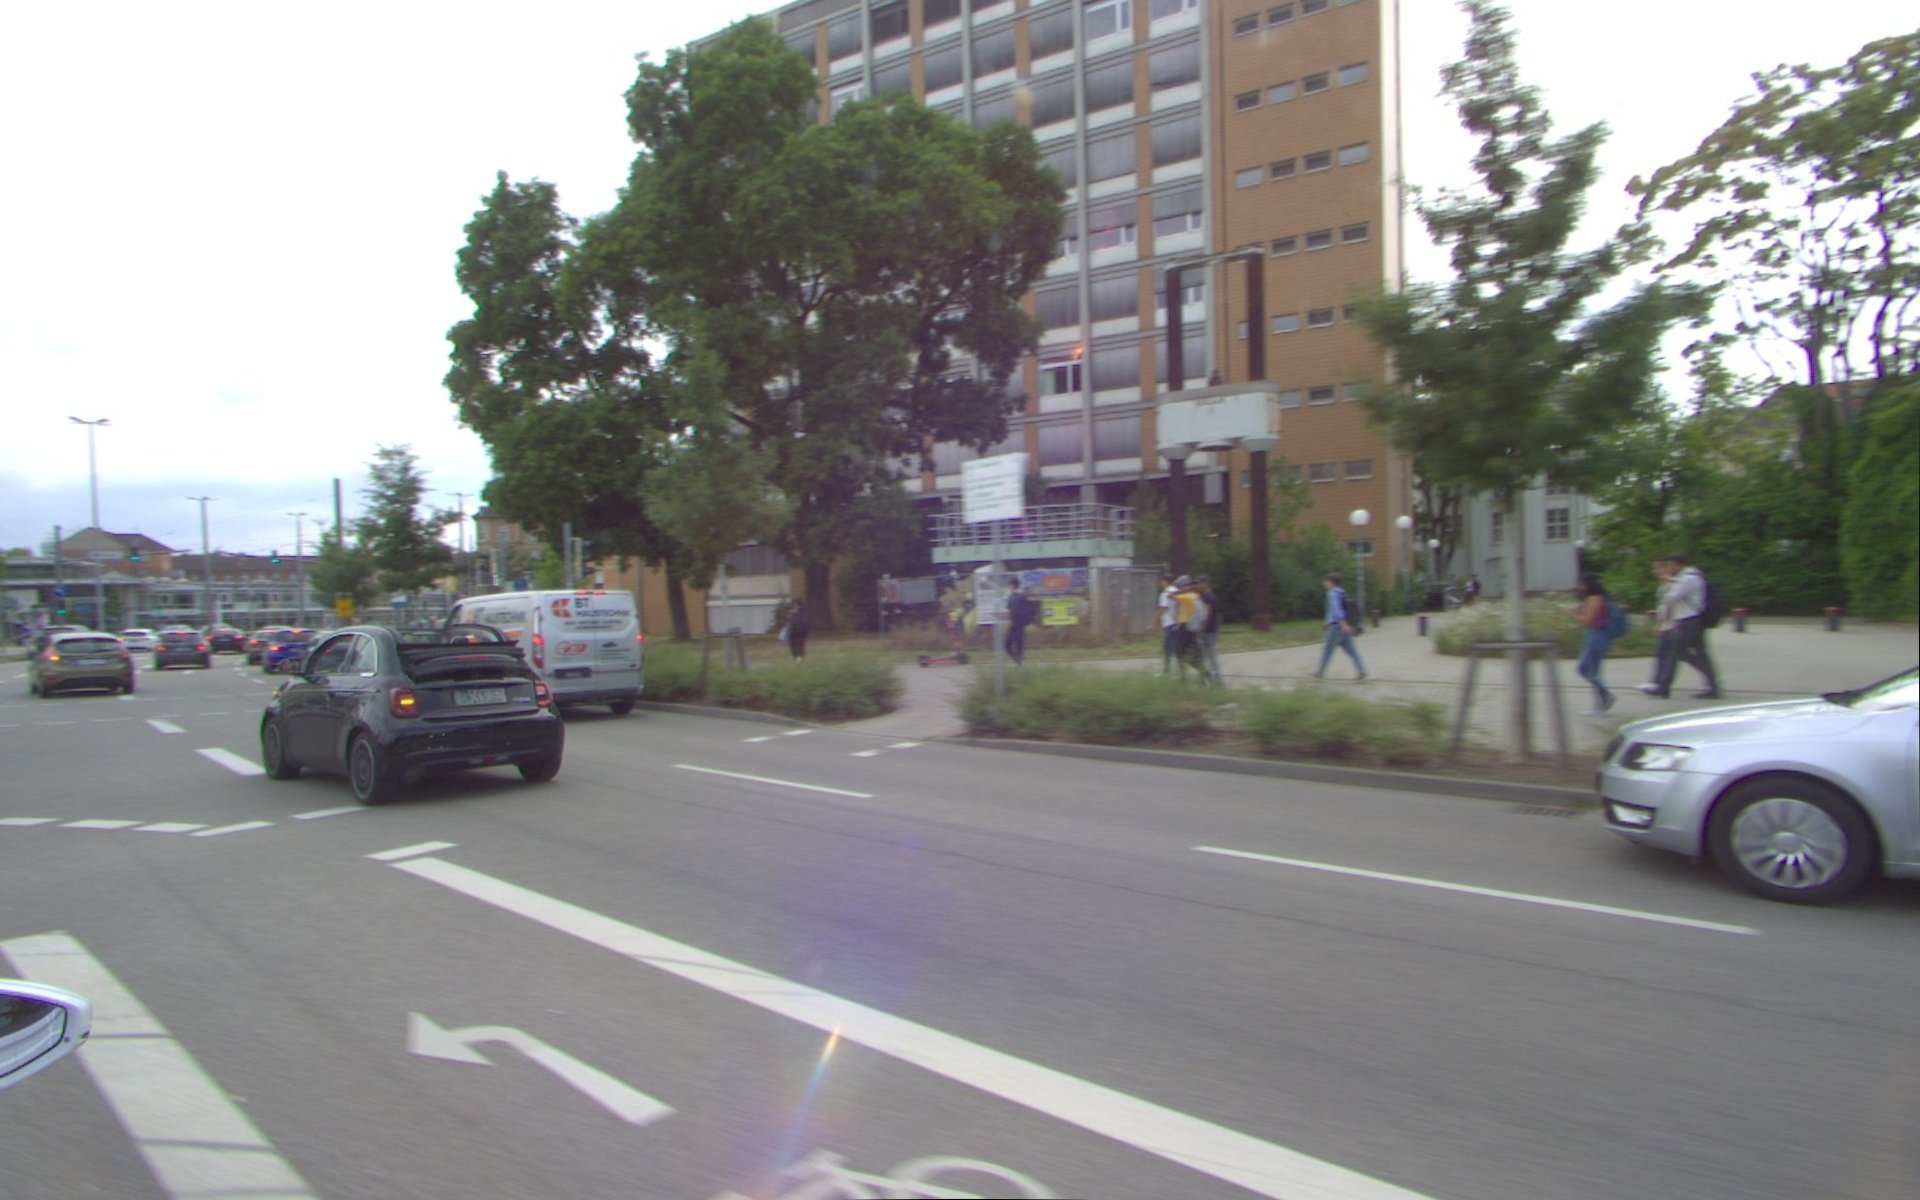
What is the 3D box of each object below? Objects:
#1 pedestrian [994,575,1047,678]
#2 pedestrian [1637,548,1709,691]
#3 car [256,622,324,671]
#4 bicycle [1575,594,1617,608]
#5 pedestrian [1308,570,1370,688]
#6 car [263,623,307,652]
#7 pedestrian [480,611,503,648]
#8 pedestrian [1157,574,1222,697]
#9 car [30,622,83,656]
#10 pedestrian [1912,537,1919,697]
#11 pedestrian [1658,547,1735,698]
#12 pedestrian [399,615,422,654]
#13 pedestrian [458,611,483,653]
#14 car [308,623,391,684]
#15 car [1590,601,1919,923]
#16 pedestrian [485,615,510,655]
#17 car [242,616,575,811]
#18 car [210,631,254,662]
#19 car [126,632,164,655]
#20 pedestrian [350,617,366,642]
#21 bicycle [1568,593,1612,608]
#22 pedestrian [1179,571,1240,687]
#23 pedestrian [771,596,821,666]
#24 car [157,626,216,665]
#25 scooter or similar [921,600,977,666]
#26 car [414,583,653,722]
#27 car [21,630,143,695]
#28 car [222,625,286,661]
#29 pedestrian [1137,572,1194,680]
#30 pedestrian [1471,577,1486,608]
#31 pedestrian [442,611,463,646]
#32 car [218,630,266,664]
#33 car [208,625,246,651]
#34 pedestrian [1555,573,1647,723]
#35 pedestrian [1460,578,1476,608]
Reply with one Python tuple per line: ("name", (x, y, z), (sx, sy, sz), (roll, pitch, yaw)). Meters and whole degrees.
("pedestrian", (1.116, 0.483, 18.567), (0.699, 1.877, 0.635), (-1, 1, 36))
("pedestrian", (9.008, 0.256, 12.657), (0.699, 1.733, 0.636), (-1, -1, 36))
("car", (-23.103, 1.581, 34.465), (1.841, 1.552, 3.975), (1, -2, -36))
("bicycle", (33.667, 0.070, 53.007), (1.825, 0.702, 0.647), (-2, -2, 42))
("pedestrian", (5.757, 0.428, 15.207), (0.699, 1.734, 0.635), (-1, 2, 36))
("car", (-34.505, 1.925, 51.154), (1.688, 1.438, 3.675), (1, -2, -36))
("pedestrian", (-20.920, 1.304, 44.695), (0.769, 1.595, 0.808), (-3, 2, -31))
("pedestrian", (3.370, 0.509, 14.687), (0.699, 1.734, 0.635), (-1, 1, 36))
("car", (-44.484, 1.916, 49.354), (1.821, 1.635, 3.516), (1, -2, -41))
("pedestrian", (10.779, 0.175, 10.518), (1.000, 1.733, 0.834), (-1, -1, 36))
("pedestrian", (8.801, 0.271, 11.976), (0.699, 1.733, 0.636), (-1, -1, 36))
("pedestrian", (-23.428, 1.469, 42.696), (0.769, 1.595, 0.808), (-3, 2, -31))
("pedestrian", (-19.452, 1.252, 39.761), (0.769, 1.595, 0.808), (-3, 2, -31))
("car", (-16.571, 1.407, 27.108), (1.651, 1.527, 3.610), (0, -2, -36))
("car", (5.746, 0.742, 4.805), (4.472, 1.493, 1.813), (-2, -2, 37))
("pedestrian", (-18.714, 1.403, 40.499), (0.769, 1.595, 0.808), (-3, 2, -31))
("car", (-5.340, 0.947, 9.564), (3.401, 1.508, 1.659), (-2, -1, 40))
("car", (-35.575, 2.262, 48.917), (1.695, 1.438, 3.972), (1, -2, -36))
("car", (-51.787, 2.752, 63.668), (1.695, 1.438, 3.972), (1, -2, -36))
("pedestrian", (-39.123, 1.922, 65.076), (0.769, 1.595, 0.808), (-3, 2, -31))
("bicycle", (32.619, 0.040, 51.836), (1.825, 0.702, 0.647), (-2, -2, 42))
("pedestrian", (3.826, 0.448, 15.325), (0.699, 1.733, 0.636), (-1, -1, 36))
("pedestrian", (-3.908, 0.738, 23.826), (0.802, 1.595, 0.775), (-1, 2, 36))
("car", (-30.042, 1.762, 38.970), (1.695, 1.438, 3.973), (1, -2, -36))
("scooter or similar", (-0.243, 0.723, 21.550), (1.129, 1.388, 0.398), (-1, -1, 24))
("car", (-7.266, 0.845, 16.742), (5.151, 1.984, 1.809), (-2, -2, 44))
("car", (-20.907, 1.438, 23.810), (3.658, 1.422, 1.687), (-2, -2, 41))
("car", (-29.529, 1.792, 41.867), (2.113, 1.438, 3.675), (1, -2, -36))
("pedestrian", (3.411, 0.427, 16.599), (0.699, 1.733, 0.636), (-1, 0, 36))
("pedestrian", (29.905, -0.427, 57.743), (0.633, 1.733, 0.702), (-1, 0, 41))
("pedestrian", (-23.779, 1.324, 46.889), (0.769, 1.595, 0.808), (-3, 2, -31))
("car", (-32.221, 2.087, 44.907), (1.695, 1.438, 3.972), (1, -2, -36))
("car", (-41.678, 2.162, 56.927), (1.695, 1.438, 3.972), (1, -2, -36))
("pedestrian", (7.168, 0.513, 11.186), (0.789, 1.564, 0.833), (-1, 3, 36))
("pedestrian", (29.839, -0.389, 58.807), (0.633, 1.733, 0.702), (-1, 0, 41))
